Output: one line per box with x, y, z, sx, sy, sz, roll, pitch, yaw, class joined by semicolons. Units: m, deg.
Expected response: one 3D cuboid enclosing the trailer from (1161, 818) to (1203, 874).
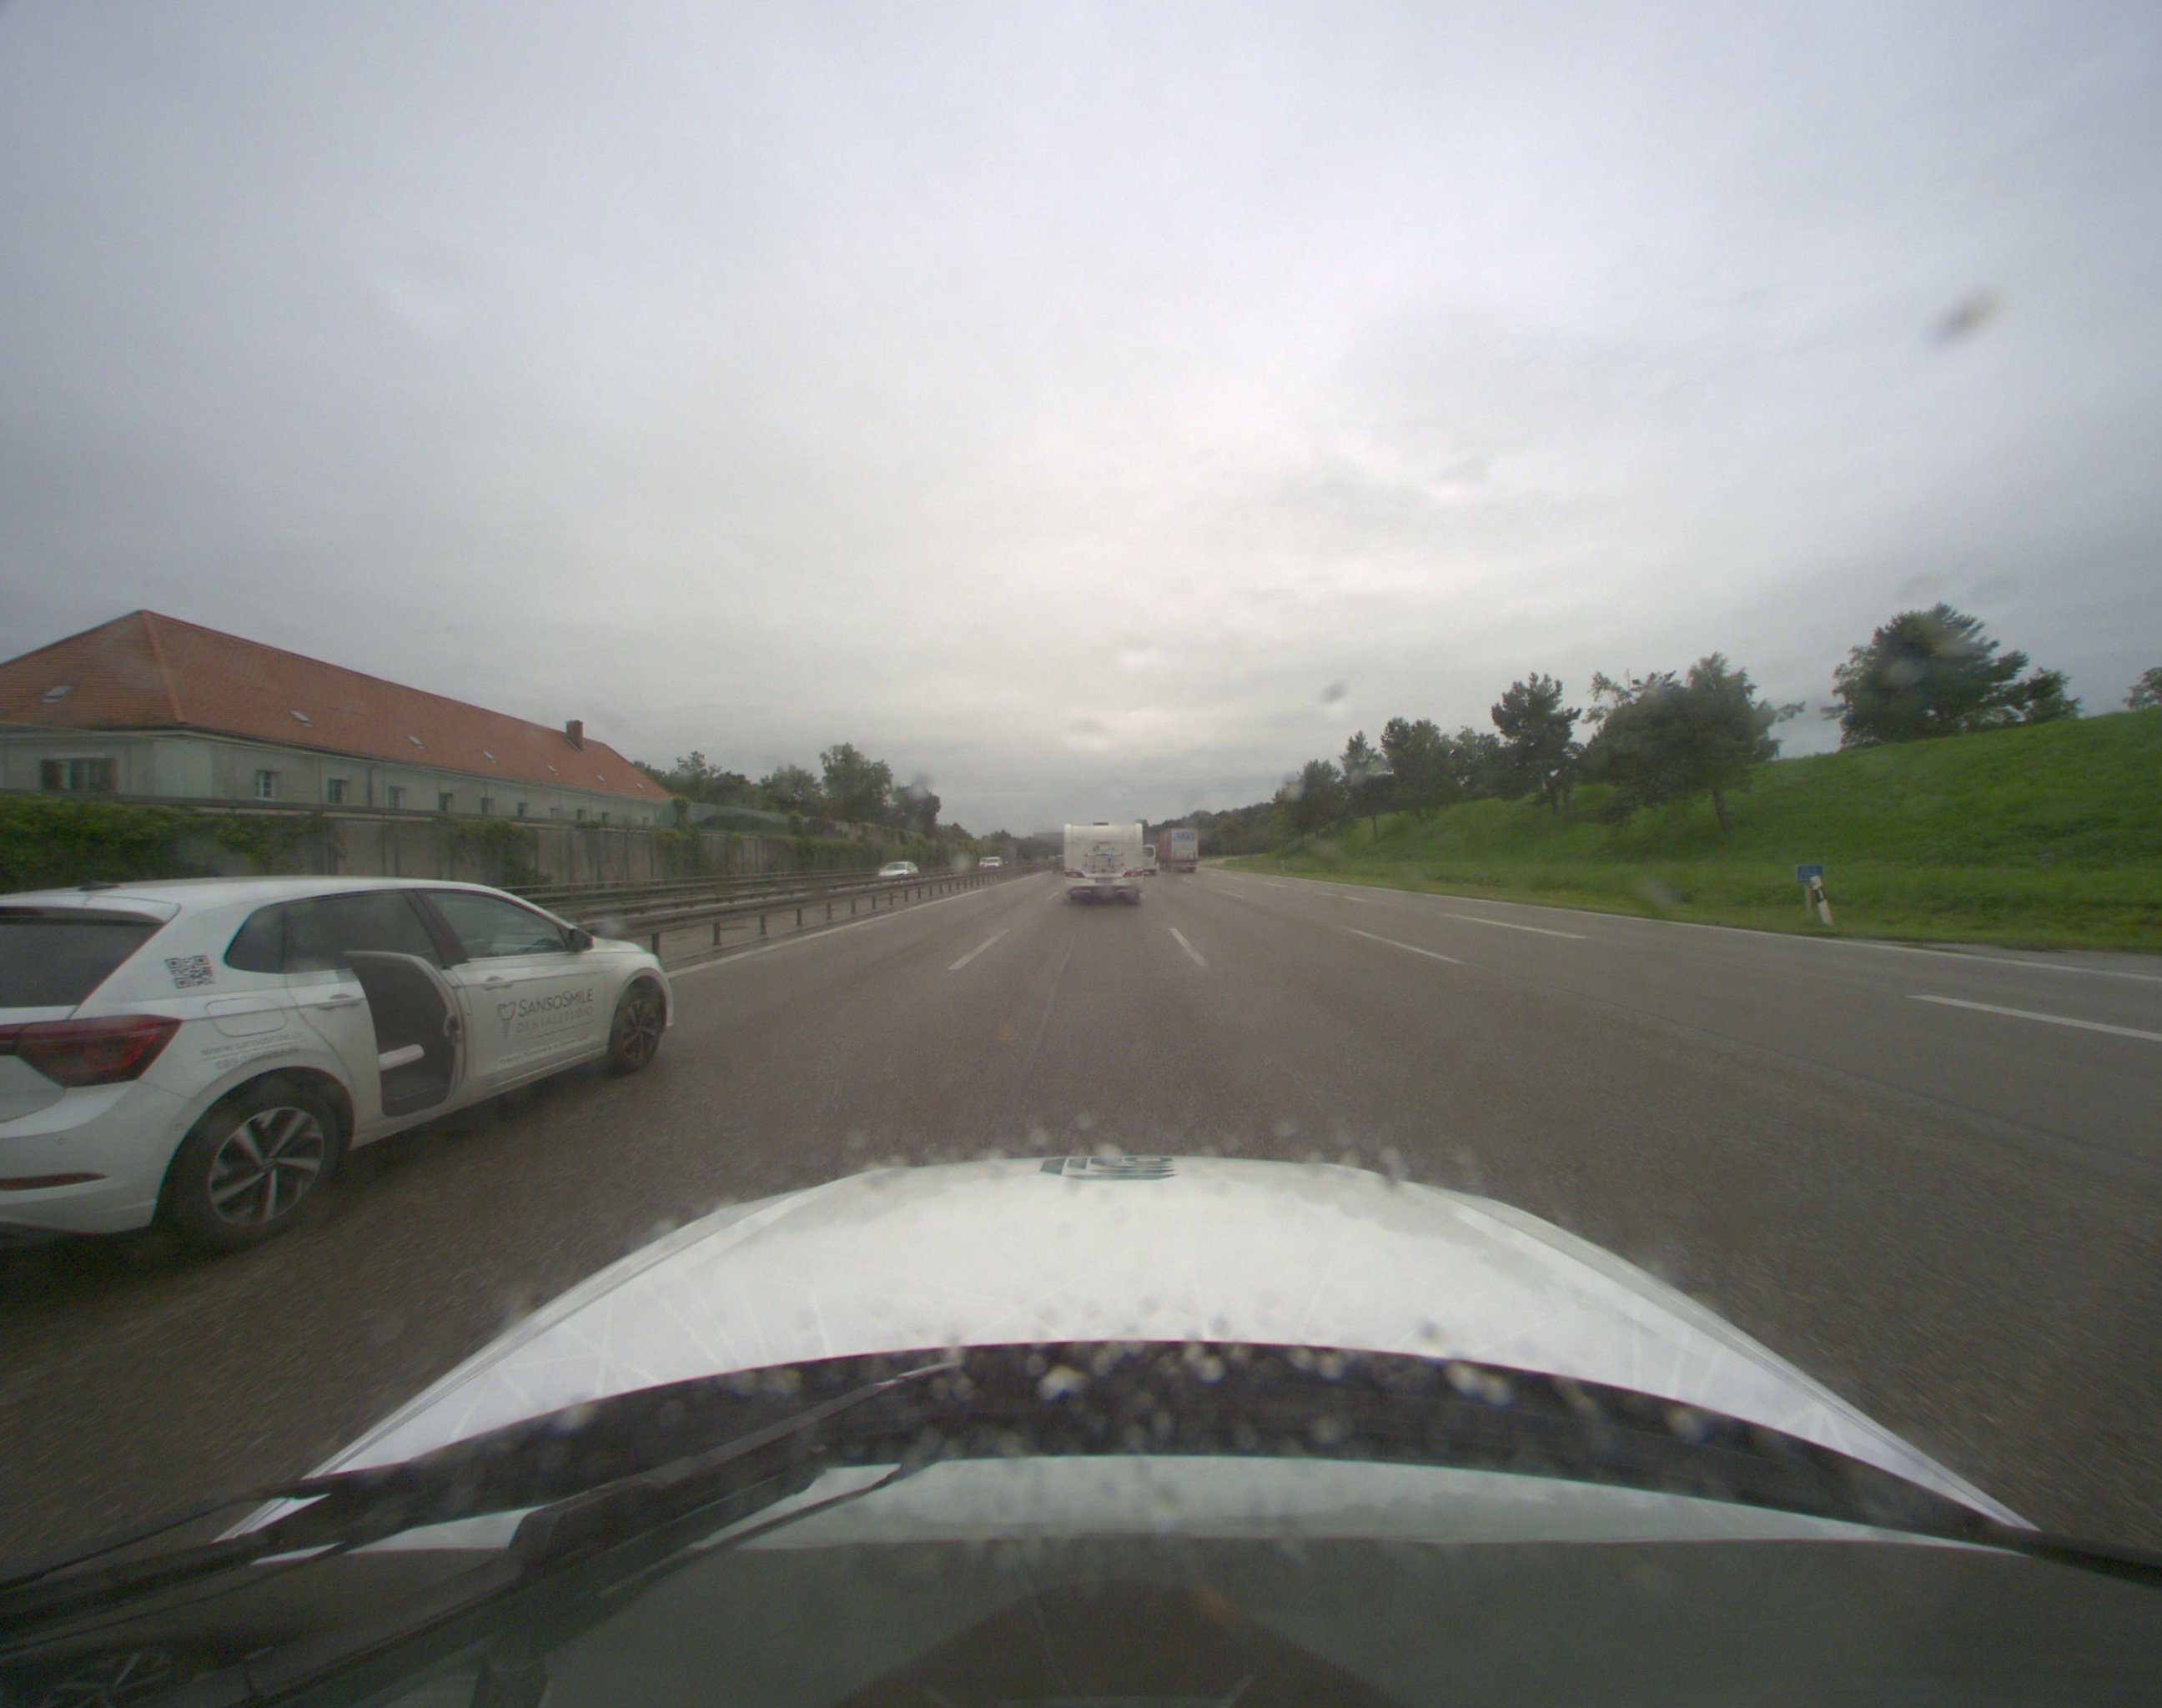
9.535;-0.665;78.281;3.087;4.922;11.797;0;-1;3;trailer

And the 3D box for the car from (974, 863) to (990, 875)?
-16.143;2.452;132.867;1.986;2.014;4.958;0;-1;1;car

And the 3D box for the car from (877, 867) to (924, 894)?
-11.030;1.565;49.985;1.596;1.406;4.766;-5;-1;1;car

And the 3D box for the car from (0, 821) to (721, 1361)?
-4.066;0.734;4.711;1.746;1.618;4.665;-1;0;1;car

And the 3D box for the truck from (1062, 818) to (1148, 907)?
0.792;0.279;27.477;2.651;2.742;5.078;0;-1;1;truck

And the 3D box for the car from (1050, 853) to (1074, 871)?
-1.719;0.708;75.419;1.986;1.600;5.124;0;-1;1;car

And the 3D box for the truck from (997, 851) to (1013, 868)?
-17.027;1.241;182.084;2.682;3.777;8.337;0;-1;1;truck

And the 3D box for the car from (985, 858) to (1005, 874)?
-9.770;1.348;92.763;1.781;1.751;4.536;0;-1;0;car

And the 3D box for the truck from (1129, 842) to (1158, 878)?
4.968;0.518;65.565;2.046;2.770;5.550;0;-1;1;truck

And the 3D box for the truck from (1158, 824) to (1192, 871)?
9.856;-0.649;85.838;3.037;4.839;5.852;0;-1;2;truck
